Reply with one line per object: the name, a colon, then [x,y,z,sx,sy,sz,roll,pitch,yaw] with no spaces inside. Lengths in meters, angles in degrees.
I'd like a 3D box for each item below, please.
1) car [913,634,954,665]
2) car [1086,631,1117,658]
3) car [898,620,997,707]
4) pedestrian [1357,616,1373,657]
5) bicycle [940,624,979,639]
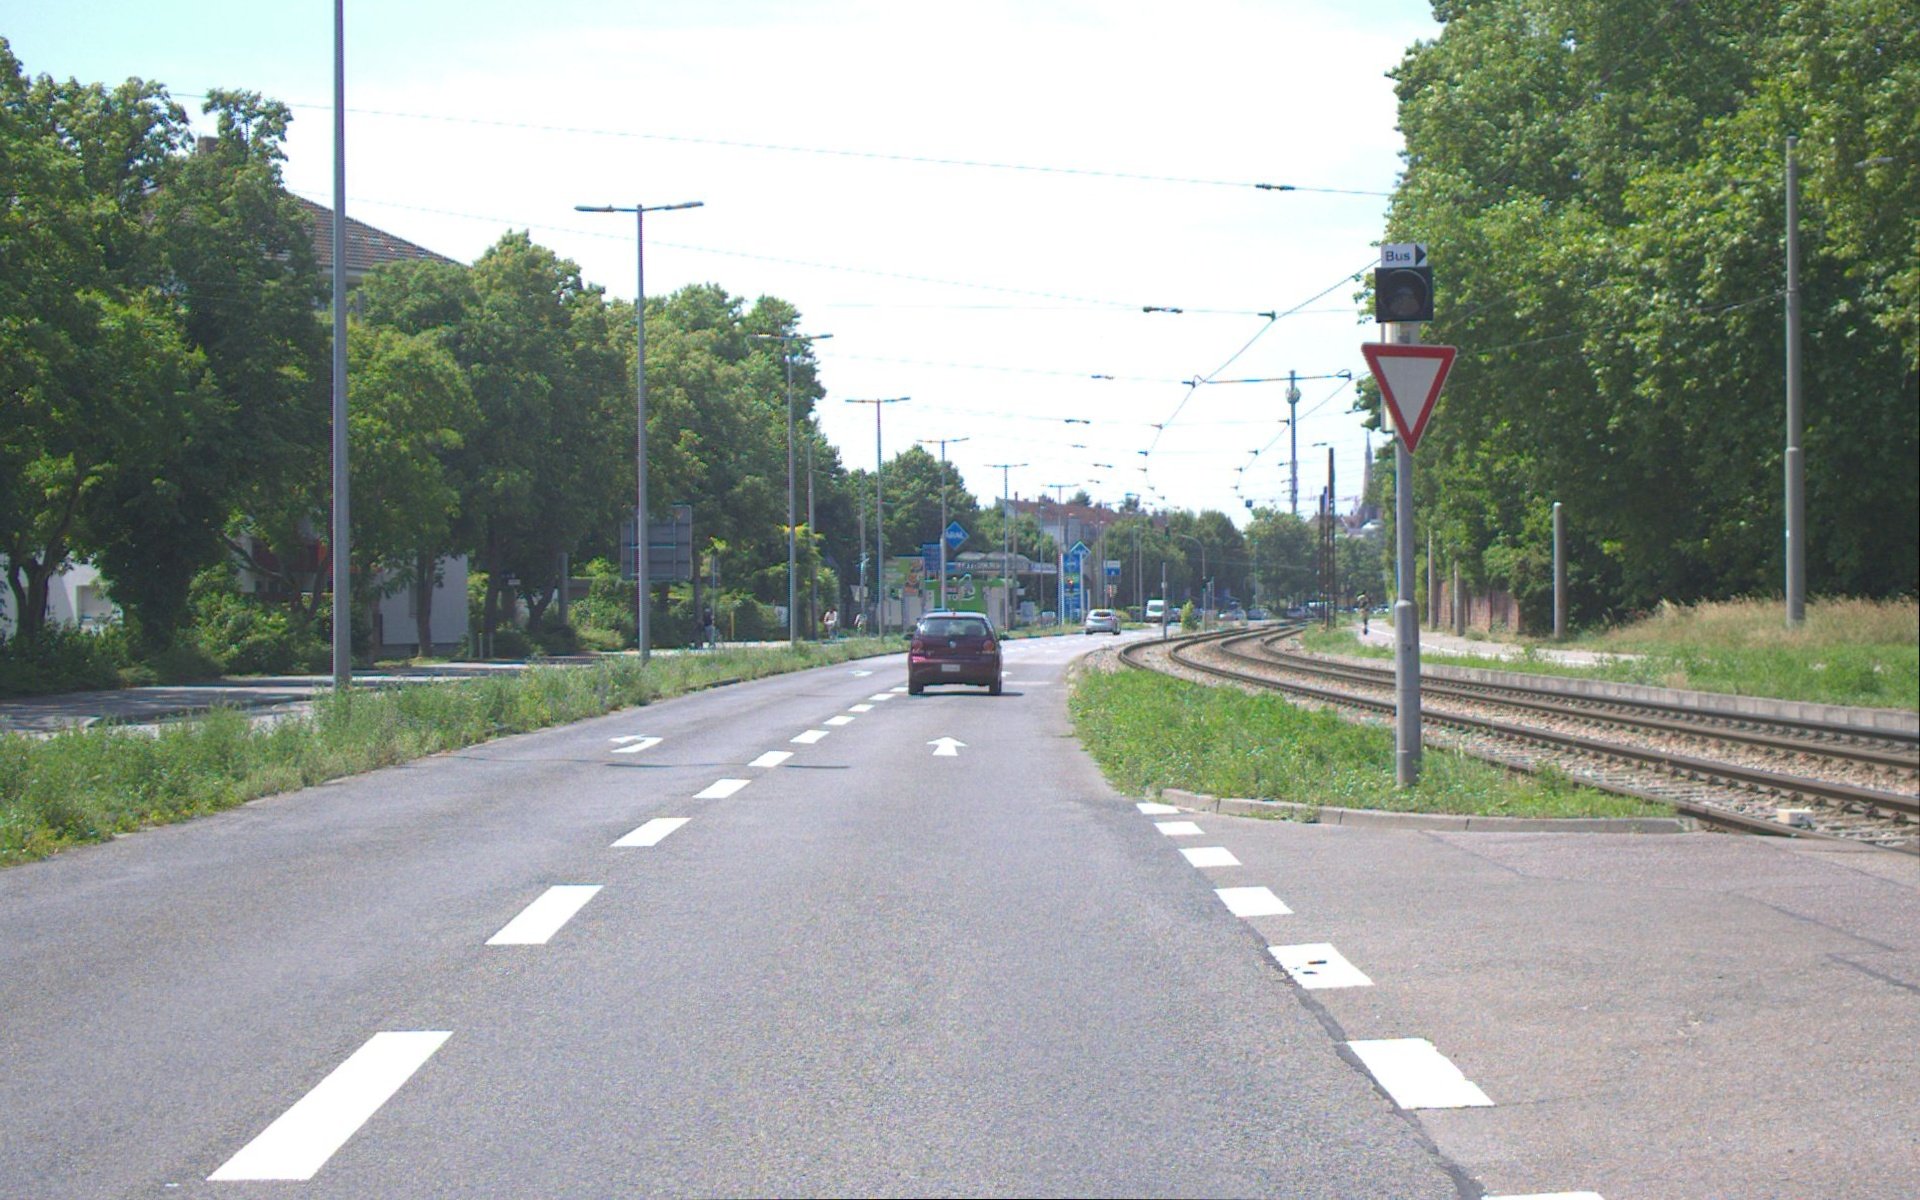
car: [-1.452,2.709,187.306,1.923,1.620,4.756,-2,-1,3]
car: [8.195,2.615,199.440,1.703,1.476,3.716,2,-1,2]
car: [-0.219,1.149,61.654,1.703,1.472,3.716,1,-1,0]
pedestrian: [17.436,1.570,147.918,0.662,1.720,0.816,-1,-1,6]
bicycle: [-0.045,2.168,236.574,2.549,1.034,1.088,1,-1,-7]
